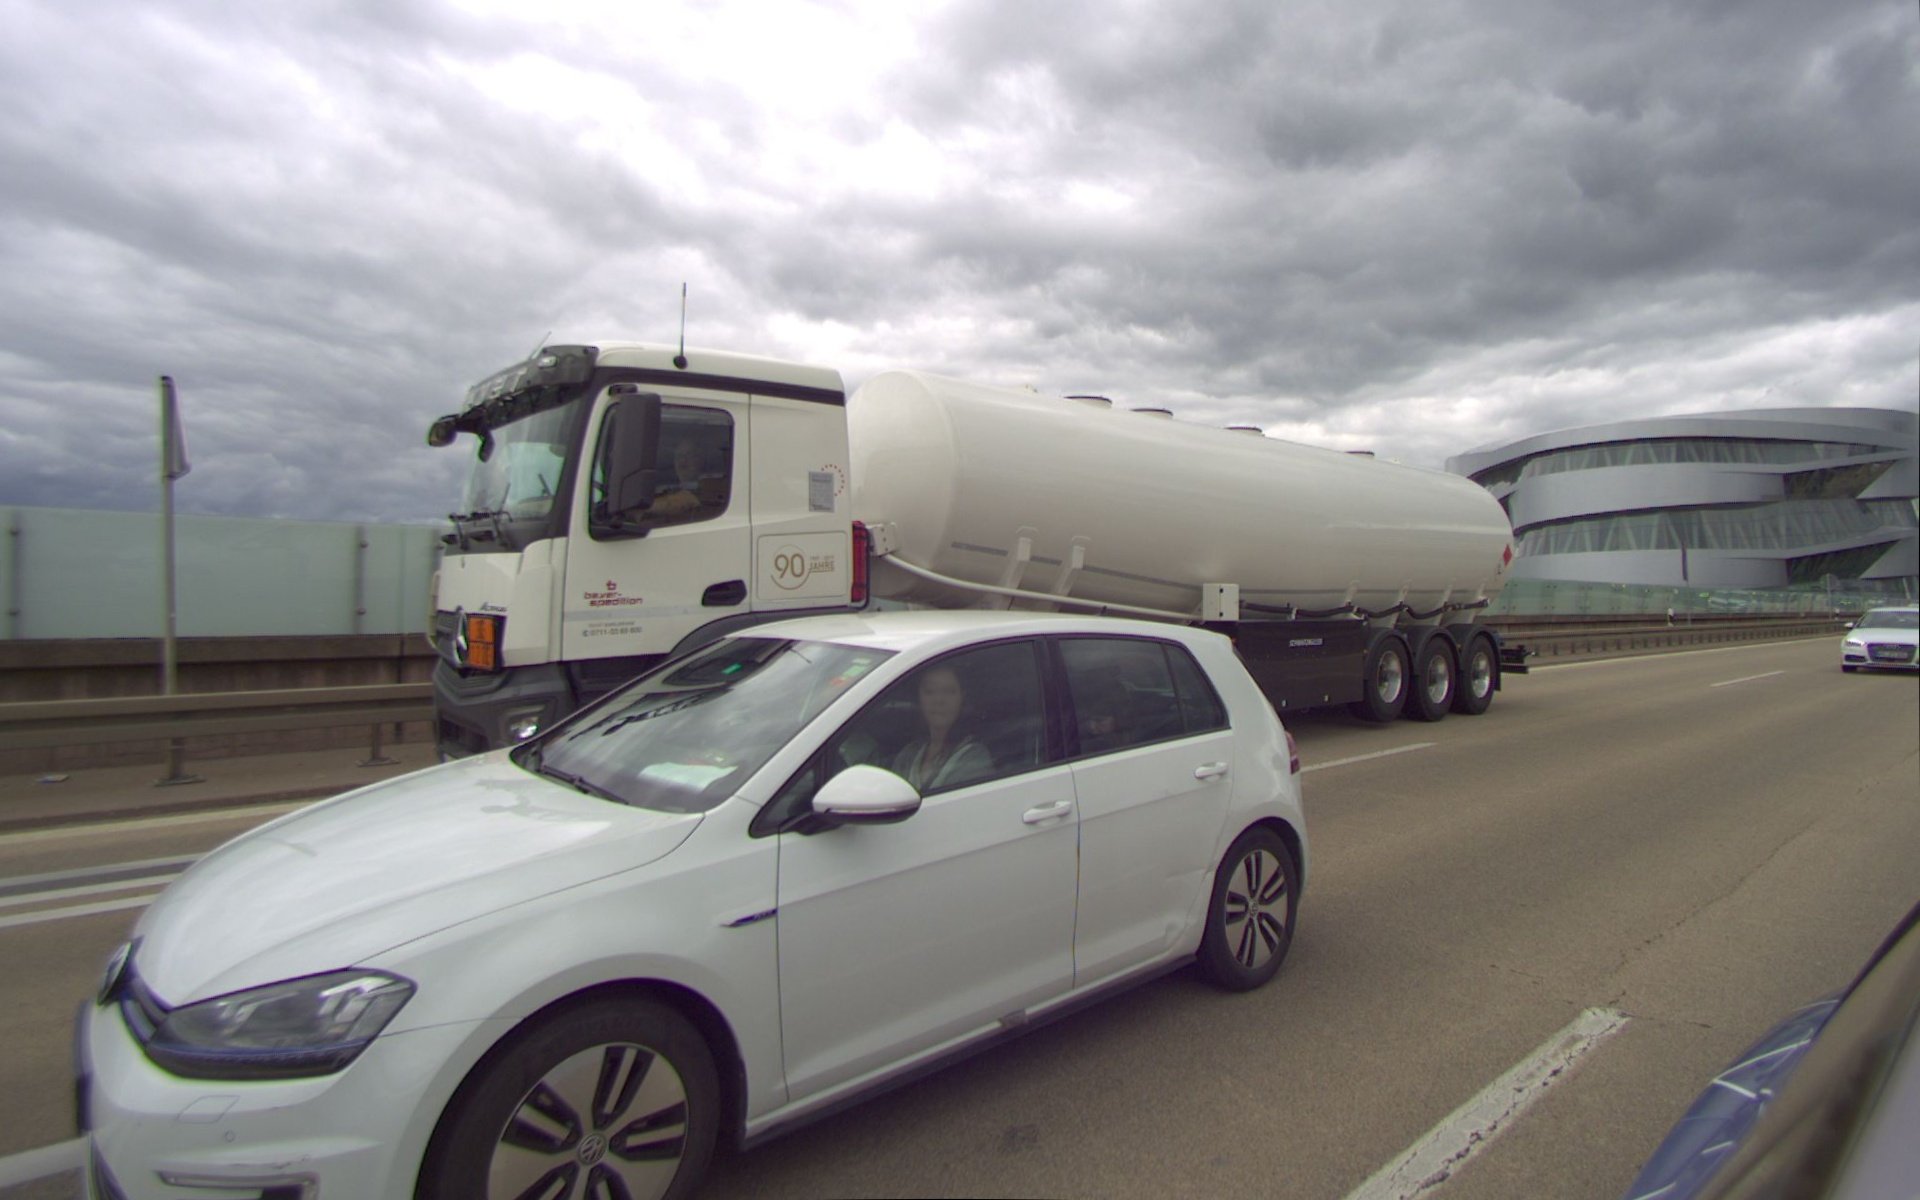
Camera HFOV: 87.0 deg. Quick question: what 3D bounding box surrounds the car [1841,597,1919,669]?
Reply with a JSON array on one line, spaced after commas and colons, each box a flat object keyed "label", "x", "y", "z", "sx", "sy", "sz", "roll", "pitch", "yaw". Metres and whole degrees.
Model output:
[{"label": "car", "x": 20.828, "y": 0.675, "z": 22.009, "sx": 3.861, "sy": 1.470, "sz": 1.848, "roll": 0, "pitch": 0, "yaw": -38}]

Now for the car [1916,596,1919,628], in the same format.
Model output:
[{"label": "car", "x": 51.649, "y": 0.629, "z": 53.119, "sx": 3.563, "sy": 1.654, "sz": 1.784, "roll": 0, "pitch": 0, "yaw": -40}]

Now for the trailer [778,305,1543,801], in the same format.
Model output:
[{"label": "trailer", "x": 3.343, "y": -0.381, "z": 11.949, "sx": 11.023, "sy": 3.588, "sz": 2.655, "roll": 0, "pitch": 0, "yaw": -41}]

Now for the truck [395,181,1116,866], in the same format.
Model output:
[{"label": "truck", "x": -1.382, "y": -0.449, "z": 7.846, "sx": 4.818, "sy": 3.558, "sz": 2.636, "roll": -1, "pitch": 1, "yaw": -41}]

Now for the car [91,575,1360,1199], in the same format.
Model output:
[{"label": "car", "x": -0.408, "y": 0.688, "z": 3.557, "sx": 4.001, "sy": 1.470, "sz": 1.757, "roll": 0, "pitch": 1, "yaw": -42}]
